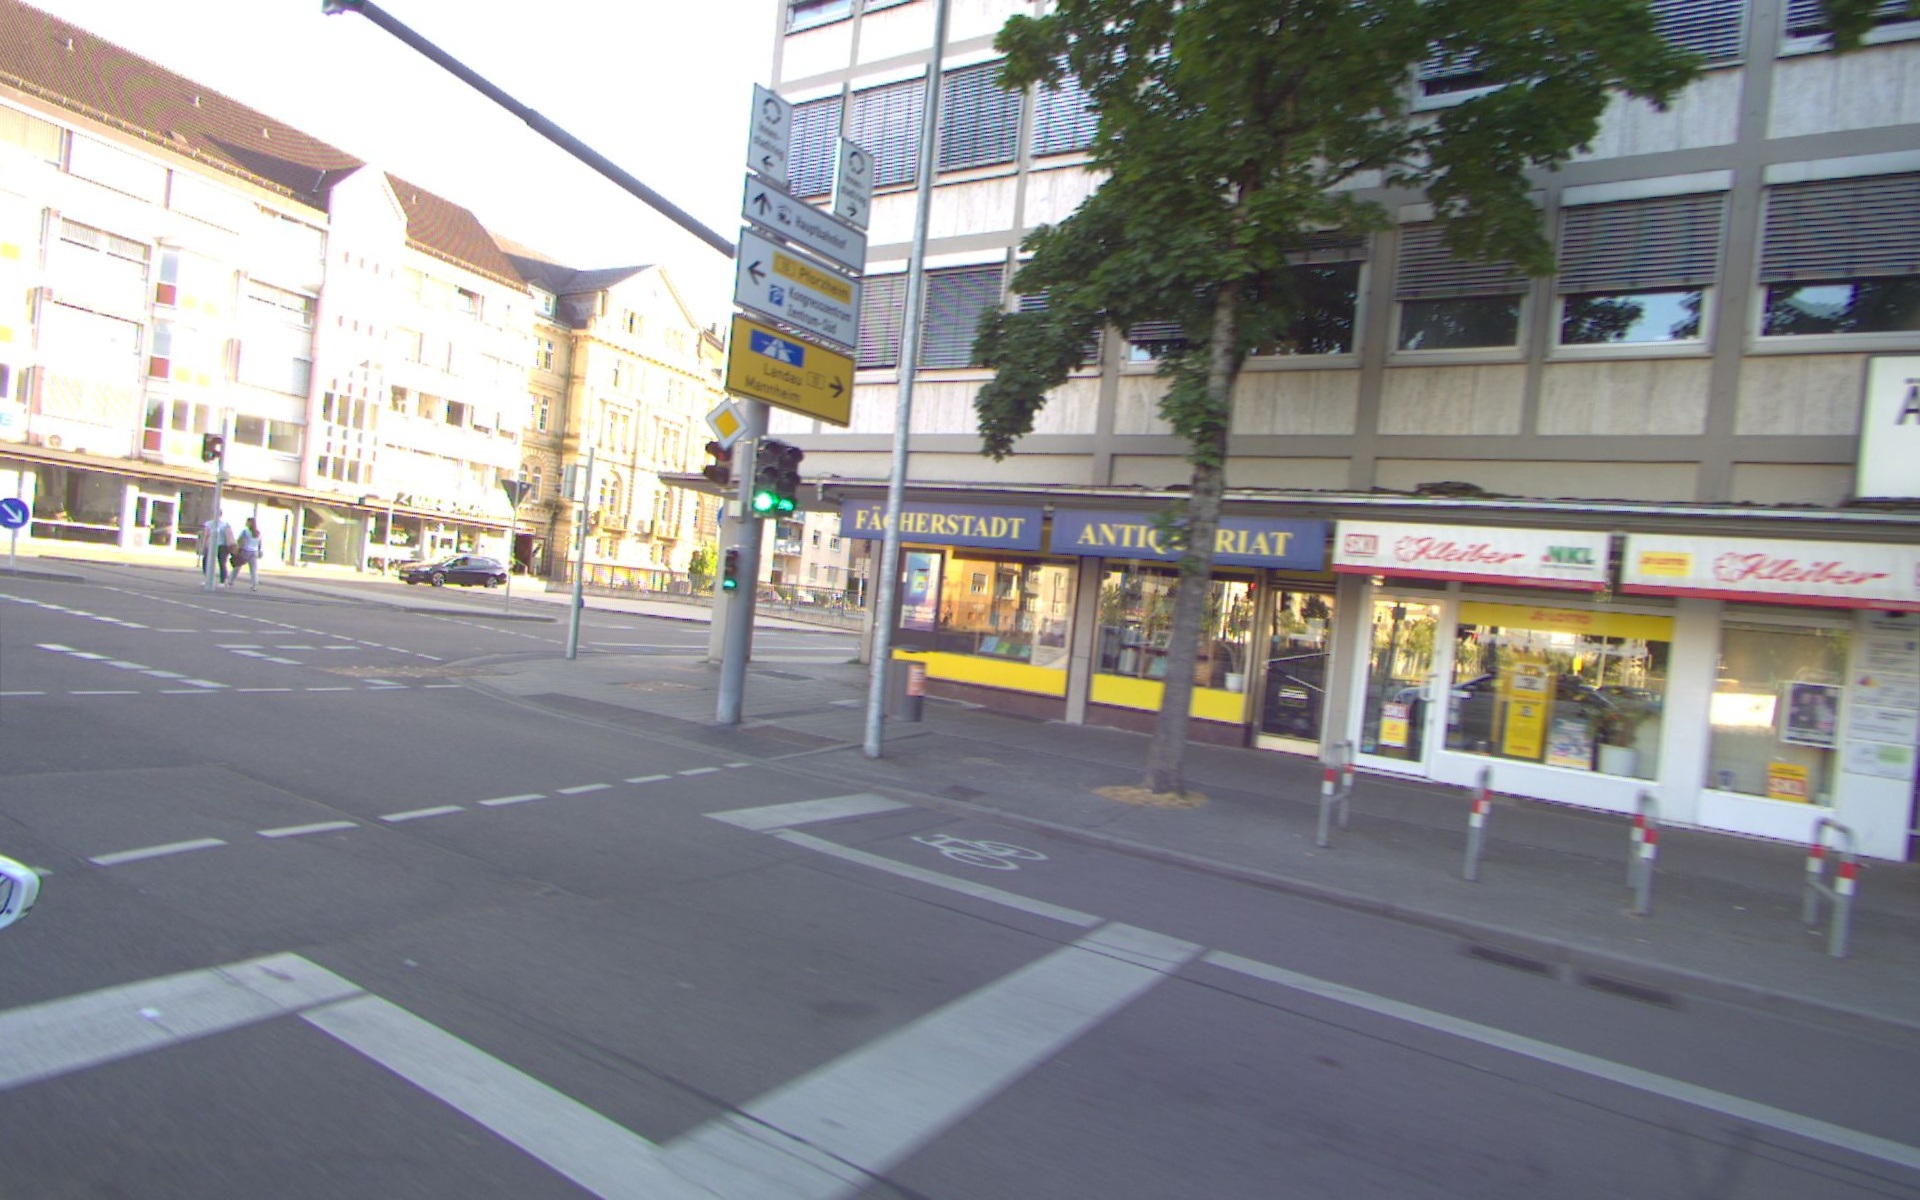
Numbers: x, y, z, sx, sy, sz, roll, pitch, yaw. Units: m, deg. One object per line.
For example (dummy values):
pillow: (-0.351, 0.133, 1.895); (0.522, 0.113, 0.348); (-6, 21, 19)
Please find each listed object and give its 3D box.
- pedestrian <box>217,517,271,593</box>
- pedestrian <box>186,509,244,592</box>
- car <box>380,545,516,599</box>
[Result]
pedestrian: (-15.967, -0.998, 22.455); (0.696, 1.602, 0.821); (5, 1, -24)
pedestrian: (-15.939, -1.039, 21.534); (0.717, 1.670, 0.767); (5, 1, -24)
car: (-21.759, -1.149, 42.912); (2.188, 1.573, 4.603); (5, -3, 35)
